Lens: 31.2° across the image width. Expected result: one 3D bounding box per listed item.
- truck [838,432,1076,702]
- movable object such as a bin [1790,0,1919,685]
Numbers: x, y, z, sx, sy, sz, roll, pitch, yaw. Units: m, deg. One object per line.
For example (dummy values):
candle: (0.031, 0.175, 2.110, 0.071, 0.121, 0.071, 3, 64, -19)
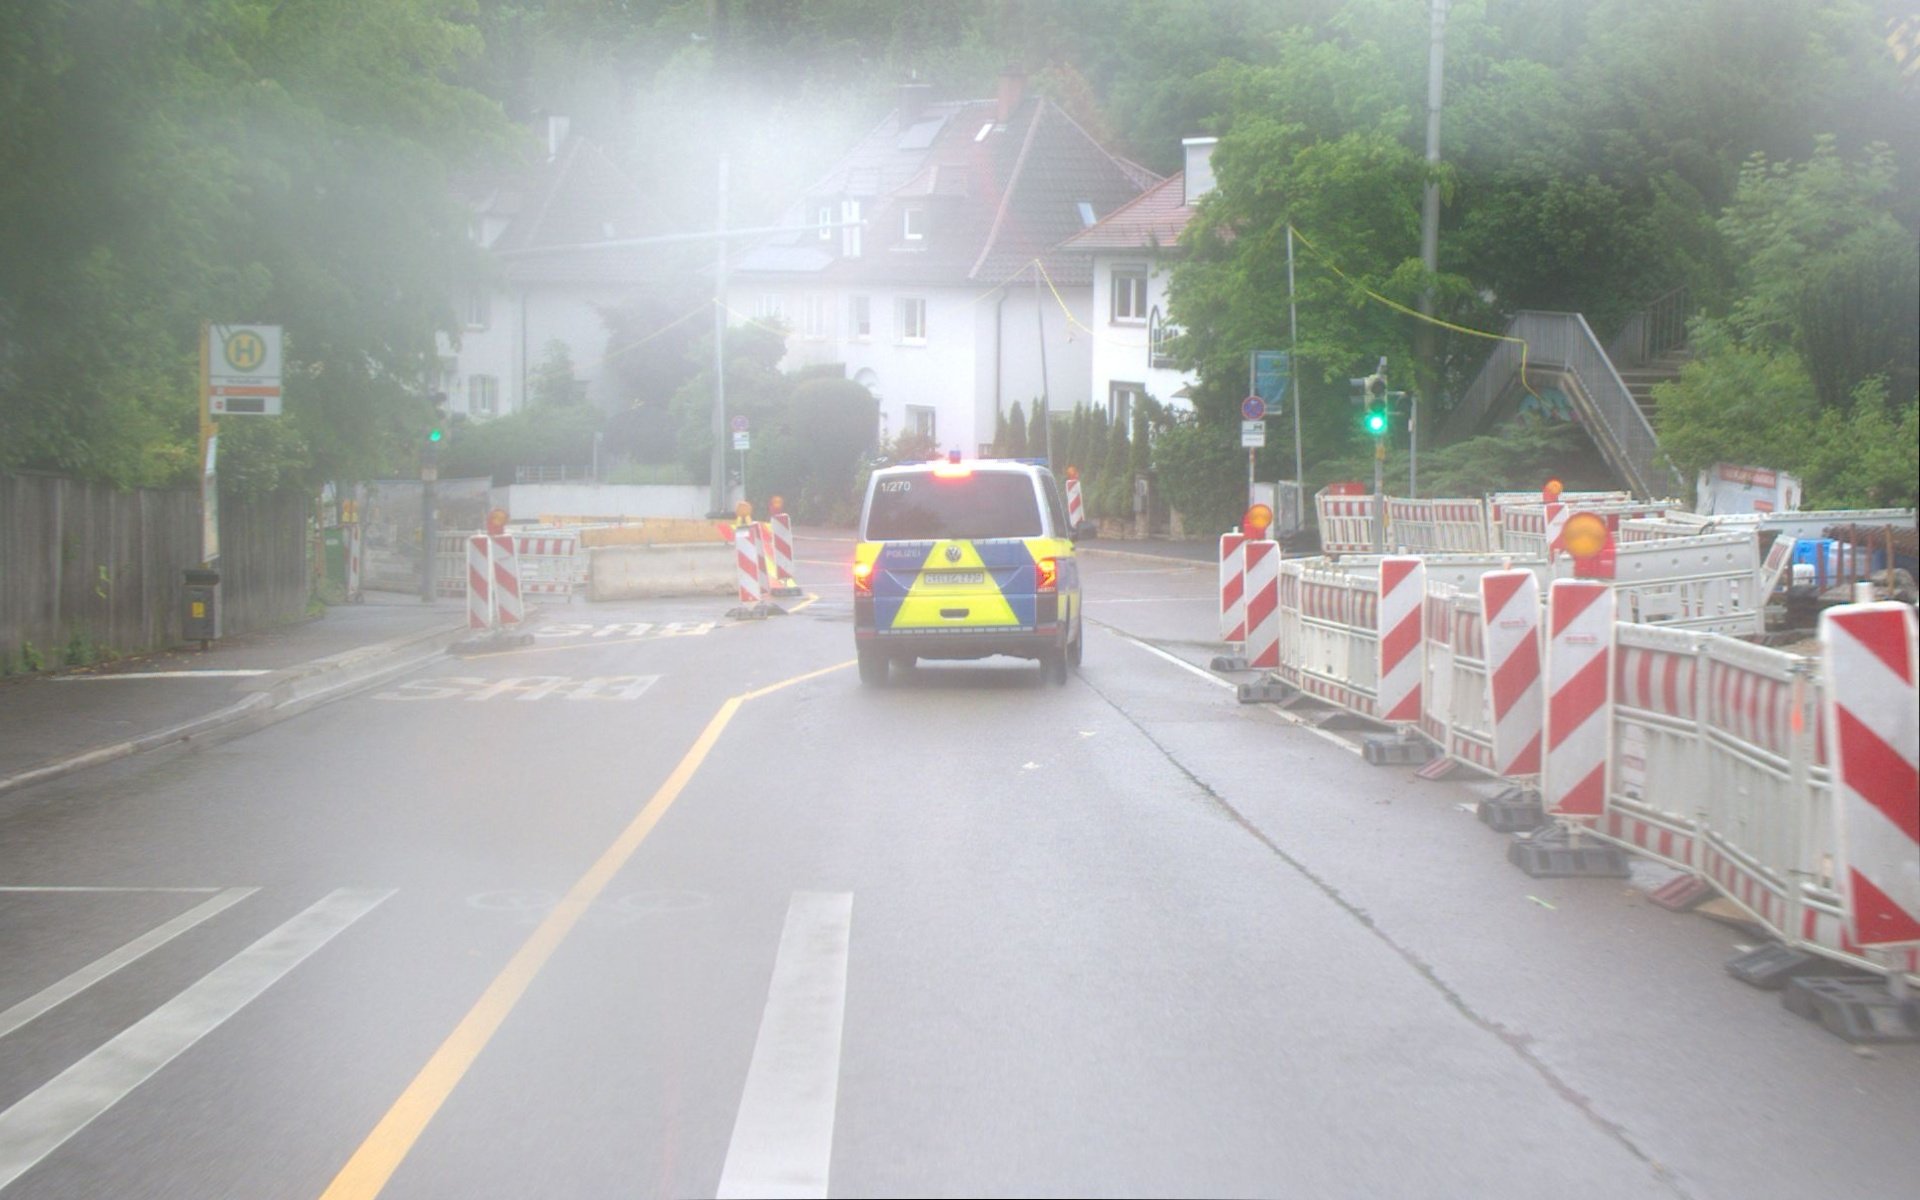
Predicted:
truck: (-0.024, -0.387, 31.471, 1.993, 2.006, 4.736, -1, 6, 0)
movable object such as a bin: (10.376, -2.742, 26.747, 6.948, 6.666, 3.046, 0, 1, -5)
